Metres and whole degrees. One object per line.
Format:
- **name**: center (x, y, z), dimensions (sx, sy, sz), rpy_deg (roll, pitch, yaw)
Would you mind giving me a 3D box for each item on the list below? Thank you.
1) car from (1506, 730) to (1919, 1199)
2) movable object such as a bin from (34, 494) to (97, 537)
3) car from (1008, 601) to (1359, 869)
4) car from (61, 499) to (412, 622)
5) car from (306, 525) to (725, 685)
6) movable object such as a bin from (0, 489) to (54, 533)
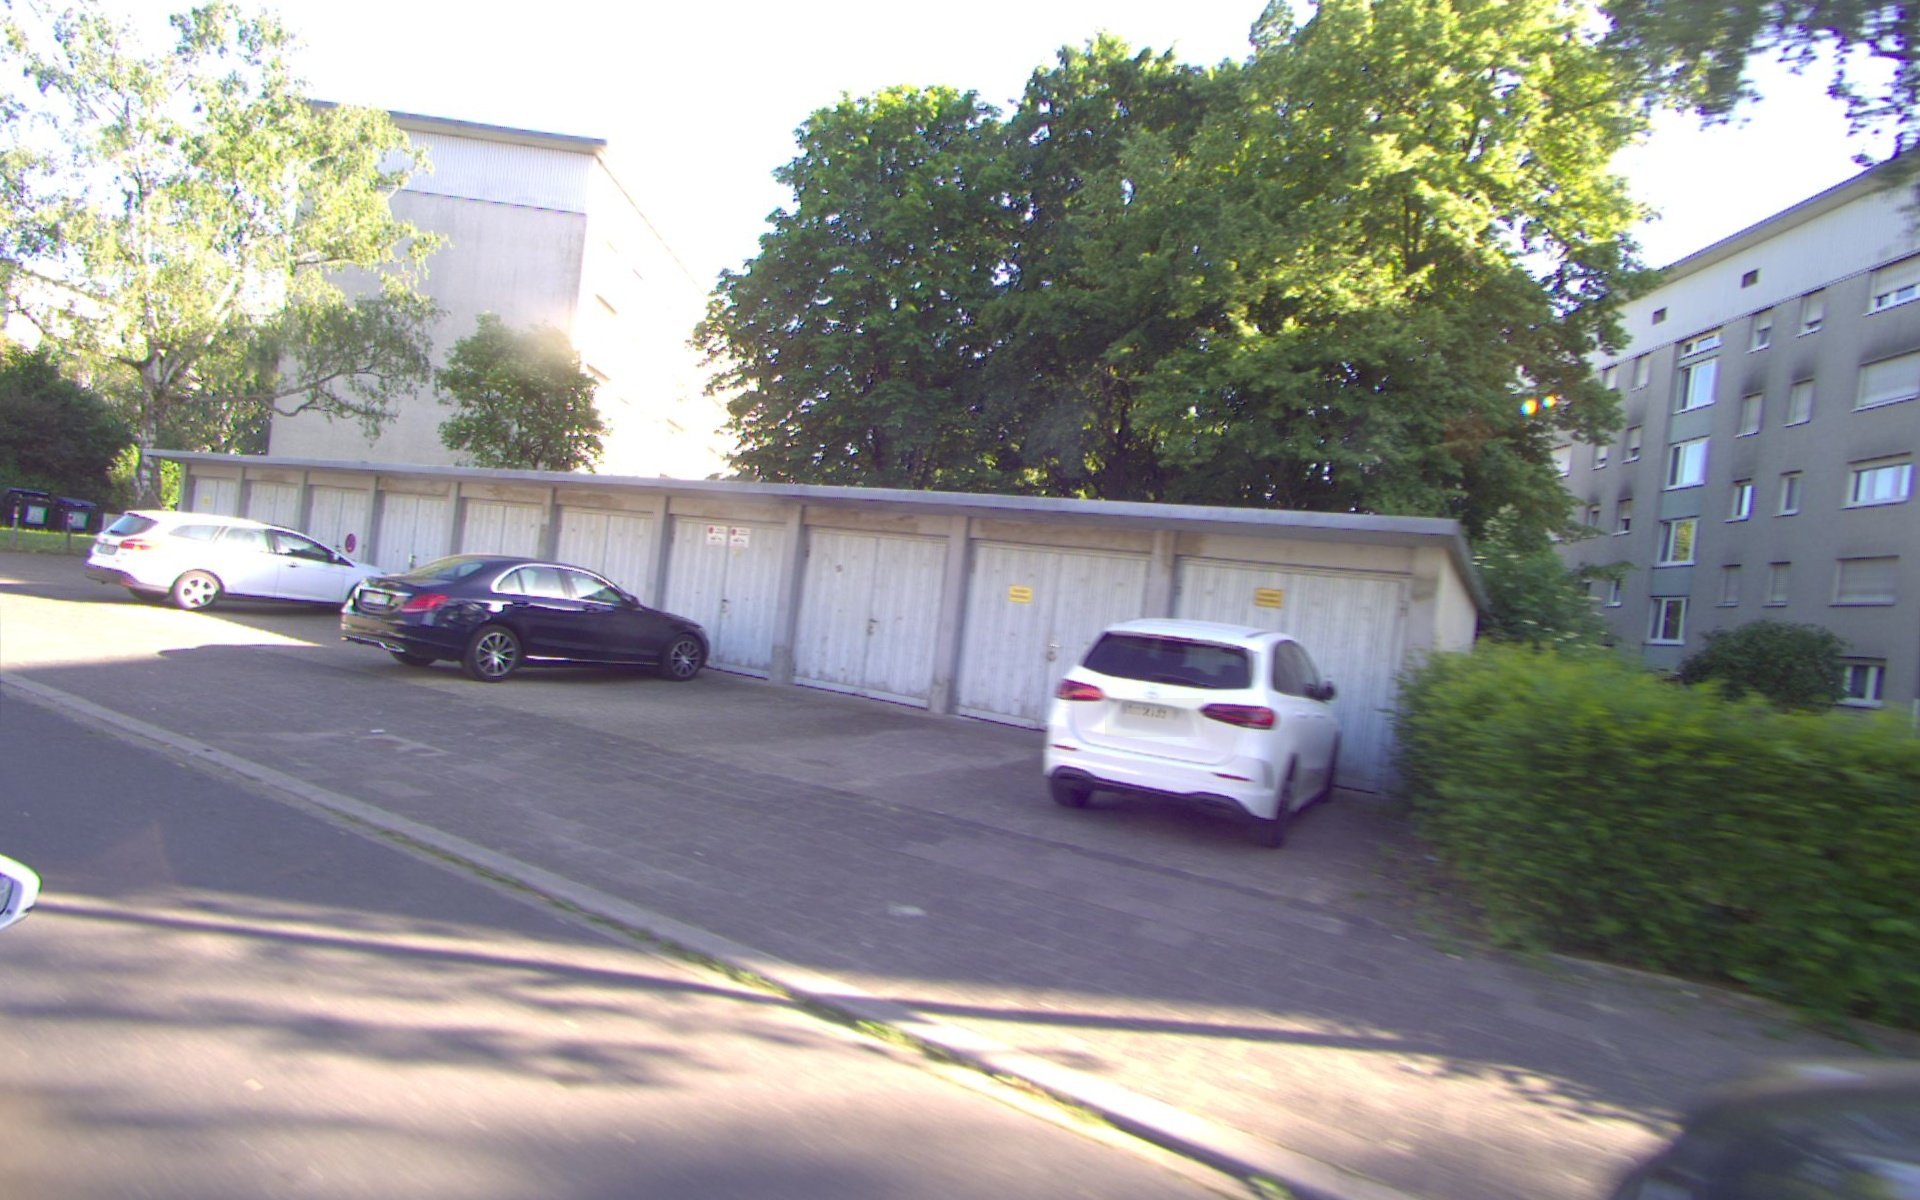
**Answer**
- **car**: center (2.785, 1.164, 0.990), dimensions (3.828, 1.420, 1.736), rpy_deg (7, -2, 29)
- **movable object such as a bin**: center (-34.139, -3.205, 38.399), dimensions (1.255, 1.369, 1.259), rpy_deg (7, 0, 20)
- **car**: center (2.131, 0.964, 8.566), dimensions (1.797, 1.532, 3.949), rpy_deg (7, 0, 28)
- **car**: center (-12.041, -0.580, 17.087), dimensions (1.798, 1.532, 4.419), rpy_deg (7, 0, 31)
- **car**: center (-5.307, 0.154, 12.688), dimensions (1.798, 1.532, 4.517), rpy_deg (7, 0, 32)
- **movable object such as a bin**: center (-34.419, -3.276, 36.901), dimensions (1.255, 1.369, 1.259), rpy_deg (7, 0, 22)
